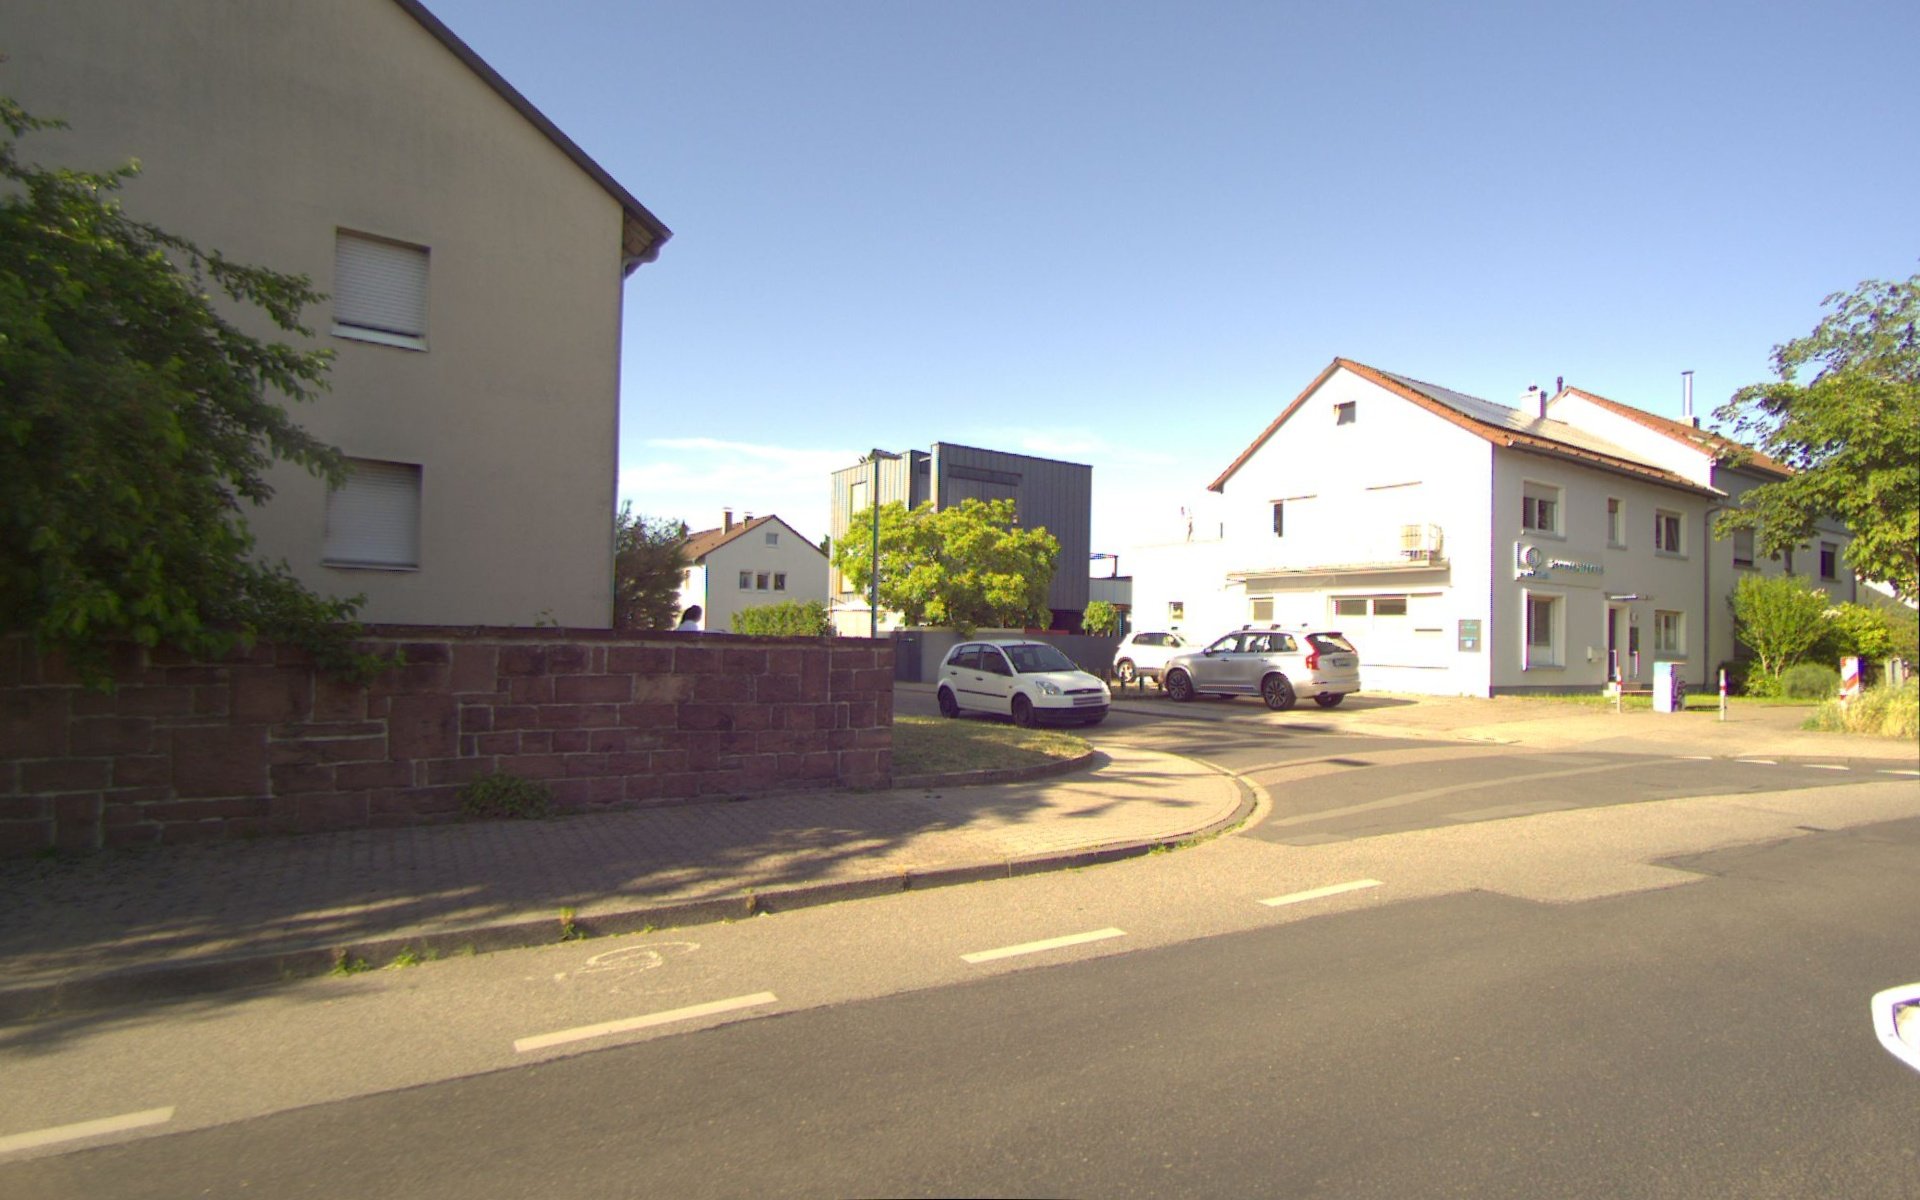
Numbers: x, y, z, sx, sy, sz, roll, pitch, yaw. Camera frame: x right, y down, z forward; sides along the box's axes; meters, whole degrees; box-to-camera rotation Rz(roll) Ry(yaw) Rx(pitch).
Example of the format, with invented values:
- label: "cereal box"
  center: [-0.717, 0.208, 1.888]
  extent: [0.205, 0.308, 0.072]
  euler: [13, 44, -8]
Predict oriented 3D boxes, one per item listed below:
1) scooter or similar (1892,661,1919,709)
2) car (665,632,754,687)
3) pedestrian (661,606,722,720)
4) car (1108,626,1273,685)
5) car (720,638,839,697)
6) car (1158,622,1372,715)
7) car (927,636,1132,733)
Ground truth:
- label: "scooter or similar"
  center: [20.642, 1.850, 21.838]
  extent: [0.987, 1.014, 0.333]
  euler: [2, -3, -35]
- label: "car"
  center: [-8.091, 1.845, 32.291]
  extent: [1.848, 1.635, 3.749]
  euler: [0, -2, -30]
- label: "pedestrian"
  center: [-3.891, 0.885, 14.528]
  extent: [0.633, 1.574, 0.779]
  euler: [1, 0, -34]
- label: "car"
  center: [6.588, 1.615, 29.138]
  extent: [1.981, 1.575, 4.470]
  euler: [1, -4, -36]
- label: "car"
  center: [-4.954, 1.765, 27.177]
  extent: [1.851, 1.415, 3.744]
  euler: [1, -2, -34]
- label: "car"
  center: [6.859, 1.466, 23.048]
  extent: [1.978, 1.862, 4.463]
  euler: [-1, -1, -33]
- label: "car"
  center: [1.141, 1.416, 18.086]
  extent: [1.850, 1.498, 3.746]
  euler: [0, -2, -32]
